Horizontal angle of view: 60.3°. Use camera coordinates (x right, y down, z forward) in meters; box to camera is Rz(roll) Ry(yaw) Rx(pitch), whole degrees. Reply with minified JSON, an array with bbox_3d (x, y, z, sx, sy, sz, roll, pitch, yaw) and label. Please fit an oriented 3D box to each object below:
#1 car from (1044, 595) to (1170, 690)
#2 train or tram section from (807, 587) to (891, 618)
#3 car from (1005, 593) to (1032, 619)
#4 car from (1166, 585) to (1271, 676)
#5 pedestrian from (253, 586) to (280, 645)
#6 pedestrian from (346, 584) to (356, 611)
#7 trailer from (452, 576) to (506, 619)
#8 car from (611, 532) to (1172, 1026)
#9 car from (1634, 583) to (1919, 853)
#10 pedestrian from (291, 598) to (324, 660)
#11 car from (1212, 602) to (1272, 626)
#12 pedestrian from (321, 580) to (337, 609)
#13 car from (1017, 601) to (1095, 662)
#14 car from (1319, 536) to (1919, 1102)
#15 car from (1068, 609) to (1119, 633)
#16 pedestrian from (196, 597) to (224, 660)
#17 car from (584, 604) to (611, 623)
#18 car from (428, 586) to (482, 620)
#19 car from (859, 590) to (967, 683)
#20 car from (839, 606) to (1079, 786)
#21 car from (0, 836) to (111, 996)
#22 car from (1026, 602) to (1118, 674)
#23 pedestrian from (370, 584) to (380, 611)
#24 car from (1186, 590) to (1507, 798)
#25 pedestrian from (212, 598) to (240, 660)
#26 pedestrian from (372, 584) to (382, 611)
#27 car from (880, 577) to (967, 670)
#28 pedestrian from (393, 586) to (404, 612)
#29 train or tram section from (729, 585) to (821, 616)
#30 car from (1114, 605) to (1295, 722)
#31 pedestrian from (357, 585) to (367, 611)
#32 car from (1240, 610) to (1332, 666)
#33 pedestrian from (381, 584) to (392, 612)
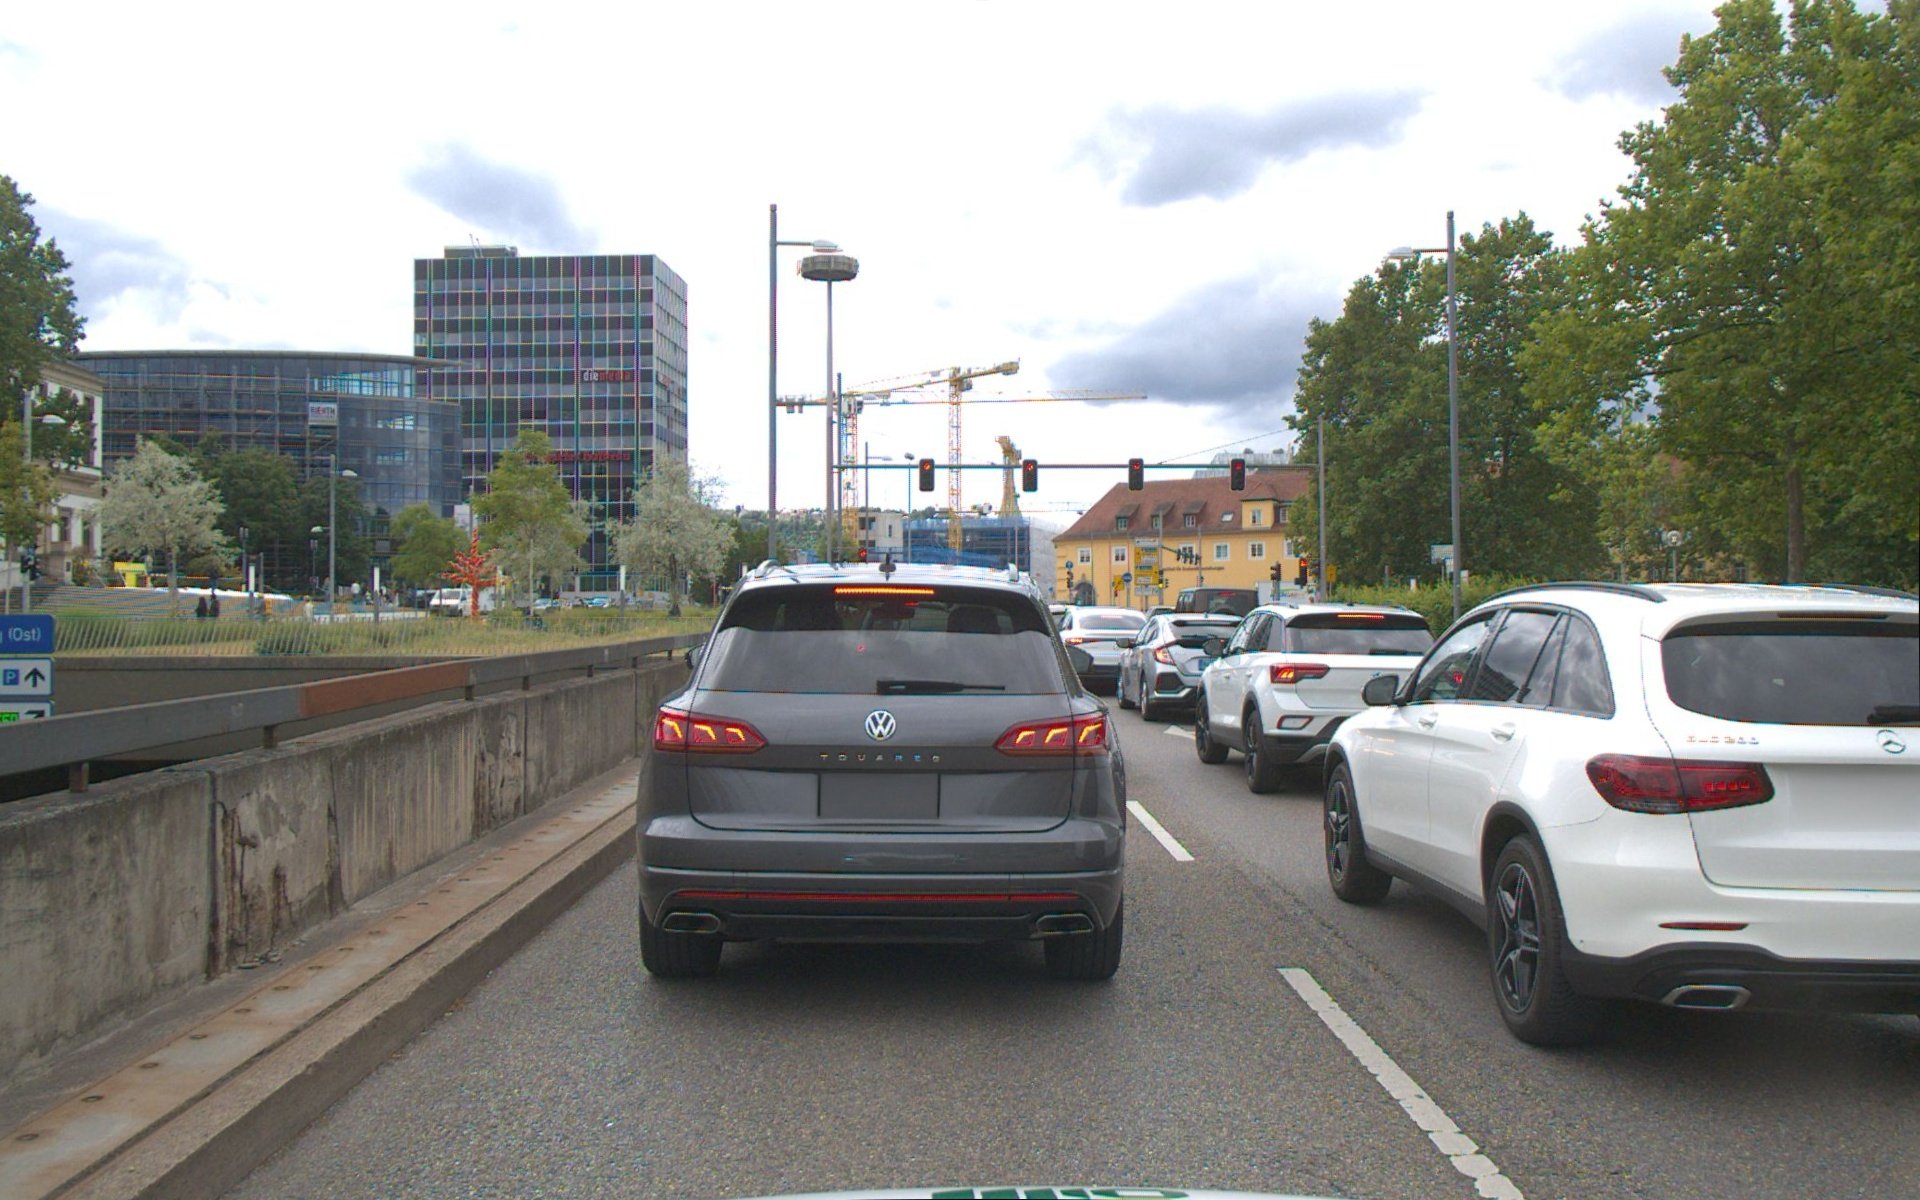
[{"bbox_3d":[2.576,0.745,29.956,1.887,1.556,4.489,1,-1,0],"label":"car"},{"bbox_3d":[-11.729,0.239,174.453,8.752,3.062,2.592,1,-2,29],"label":"train or tram section"},{"bbox_3d":[3.970,0.414,112.573,1.586,1.656,3.999,2,-2,0],"label":"car"},{"bbox_3d":[6.241,0.734,40.297,1.871,2.049,4.011,2,-1,0],"label":"car"},{"bbox_3d":[-25.020,0.555,59.685,0.716,2.047,0.628,0,4,-8],"label":"pedestrian"},{"bbox_3d":[-47.440,-0.203,128.913,0.728,2.049,0.788,0,1,-21],"label":"pedestrian"},{"bbox_3d":[-31.691,-0.183,109.127,1.996,2.650,5.507,2,0,-1],"label":"trailer"},{"bbox_3d":[-0.273,0.634,7.725,1.912,1.680,3.999,1,0,-1],"label":"car"},{"bbox_3d":[6.845,0.743,12.137,1.953,1.668,4.303,0,0,-2],"label":"car"},{"bbox_3d":[-21.766,0.969,55.191,0.842,2.049,0.629,0,1,-2],"label":"pedestrian"},{"bbox_3d":[21.260,1.060,124.694,4.029,1.638,1.823,1,-2,34],"label":"car"},{"bbox_3d":[-44.873,-0.419,117.609,0.724,2.049,1.113,0,1,-6],"label":"pedestrian"},{"bbox_3d":[2.567,0.859,45.063,1.887,1.556,4.047,1,-1,0],"label":"car"},{"bbox_3d":[2.985,0.634,7.189,1.887,1.682,4.490,1,1,0],"label":"car"},{"bbox_3d":[12.258,1.913,151.561,4.367,2.049,1.697,1,-2,33],"label":"car"},{"bbox_3d":[-24.732,0.938,54.502,0.781,2.049,0.829,-1,0,-28],"label":"pedestrian"},{"bbox_3d":[-31.175,1.175,142.315,1.698,1.521,3.592,2,-2,-3],"label":"car"},{"bbox_3d":[-31.711,0.162,103.951,1.953,2.048,4.692,0,1,0],"label":"car"},{"bbox_3d":[-0.900,0.671,32.081,1.912,1.628,3.930,2,0,-1],"label":"car"},{"bbox_3d":[-0.043,0.793,15.447,1.912,1.408,3.930,2,0,-1],"label":"car"},{"bbox_3d":[-16.208,5.224,26.867,2.173,2.049,5.116,0,0,0],"label":"car"},{"bbox_3d":[2.564,0.878,38.774,1.887,1.556,4.047,1,-1,0],"label":"car"},{"bbox_3d":[-44.337,-0.191,125.382,0.727,2.049,1.108,0,1,-20],"label":"pedestrian"},{"bbox_3d":[3.295,0.756,15.027,1.887,1.578,4.489,1,-1,0],"label":"car"},{"bbox_3d":[-24.532,0.965,55.253,0.781,2.049,0.829,-1,0,-28],"label":"pedestrian"},{"bbox_3d":[-44.608,-0.168,126.566,0.728,2.049,0.788,0,1,-21],"label":"pedestrian"},{"bbox_3d":[-0.878,0.540,39.605,1.912,2.053,3.930,2,0,-1],"label":"car"},{"bbox_3d":[-43.320,-0.087,127.589,0.728,2.049,1.108,0,1,-21],"label":"pedestrian"},{"bbox_3d":[-20.068,0.084,178.987,10.198,3.062,2.592,1,-2,29],"label":"train or tram section"},{"bbox_3d":[3.312,0.836,23.243,1.887,1.457,4.489,1,-1,0],"label":"car"},{"bbox_3d":[-46.705,-0.169,129.228,0.728,2.049,0.788,0,1,-21],"label":"pedestrian"},{"bbox_3d":[9.202,1.064,46.931,1.722,1.472,3.632,2,-1,-2],"label":"car"},{"bbox_3d":[-43.701,-0.152,126.049,0.728,2.049,0.788,0,1,-21],"label":"pedestrian"}]
